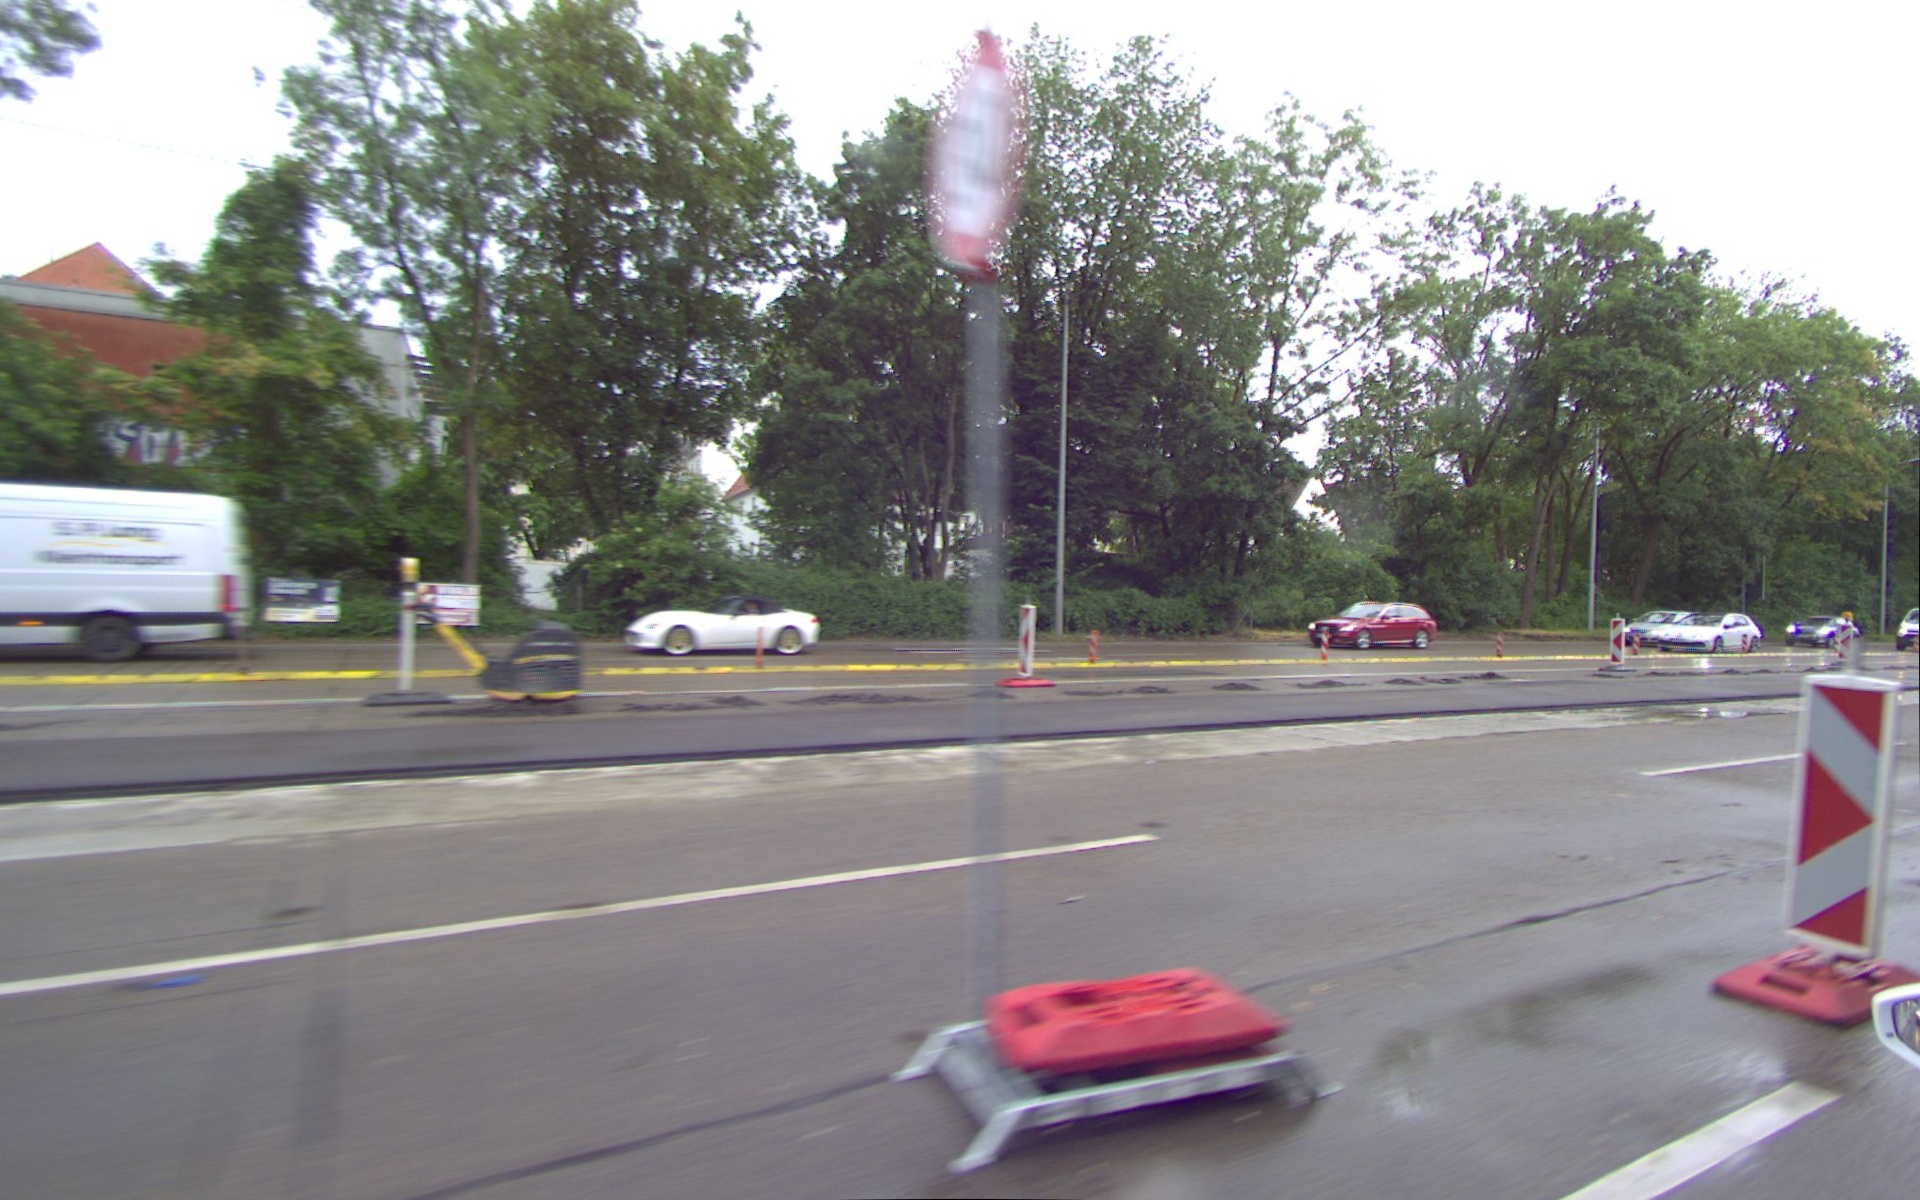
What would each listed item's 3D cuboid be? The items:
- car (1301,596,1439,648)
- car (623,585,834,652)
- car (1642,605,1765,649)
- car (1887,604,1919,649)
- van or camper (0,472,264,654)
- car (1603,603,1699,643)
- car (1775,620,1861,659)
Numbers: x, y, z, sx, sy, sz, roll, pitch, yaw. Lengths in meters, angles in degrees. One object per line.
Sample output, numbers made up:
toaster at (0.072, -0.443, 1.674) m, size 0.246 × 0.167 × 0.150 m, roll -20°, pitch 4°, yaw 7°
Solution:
car at (13.000, 0.703, 31.808) m, size 4.436 × 1.496 × 1.720 m, roll 2°, pitch 0°, yaw -31°
car at (-4.784, 0.392, 20.867) m, size 3.953 × 1.199 × 1.680 m, roll 2°, pitch 2°, yaw -30°
car at (27.097, 0.996, 36.584) m, size 4.340 × 1.434 × 1.985 m, roll 2°, pitch 0°, yaw -29°
car at (45.355, 1.261, 46.705) m, size 4.847 × 1.998 × 1.983 m, roll 2°, pitch 1°, yaw -31°
van or camper at (-14.960, -0.603, 14.699) m, size 7.638 × 2.589 × 1.984 m, roll 2°, pitch 2°, yaw -30°
car at (27.668, 0.939, 40.208) m, size 3.595 × 1.419 × 1.672 m, roll 2°, pitch 1°, yaw -29°
car at (40.087, 1.837, 46.916) m, size 3.953 × 1.643 × 1.818 m, roll 2°, pitch 1°, yaw -30°
